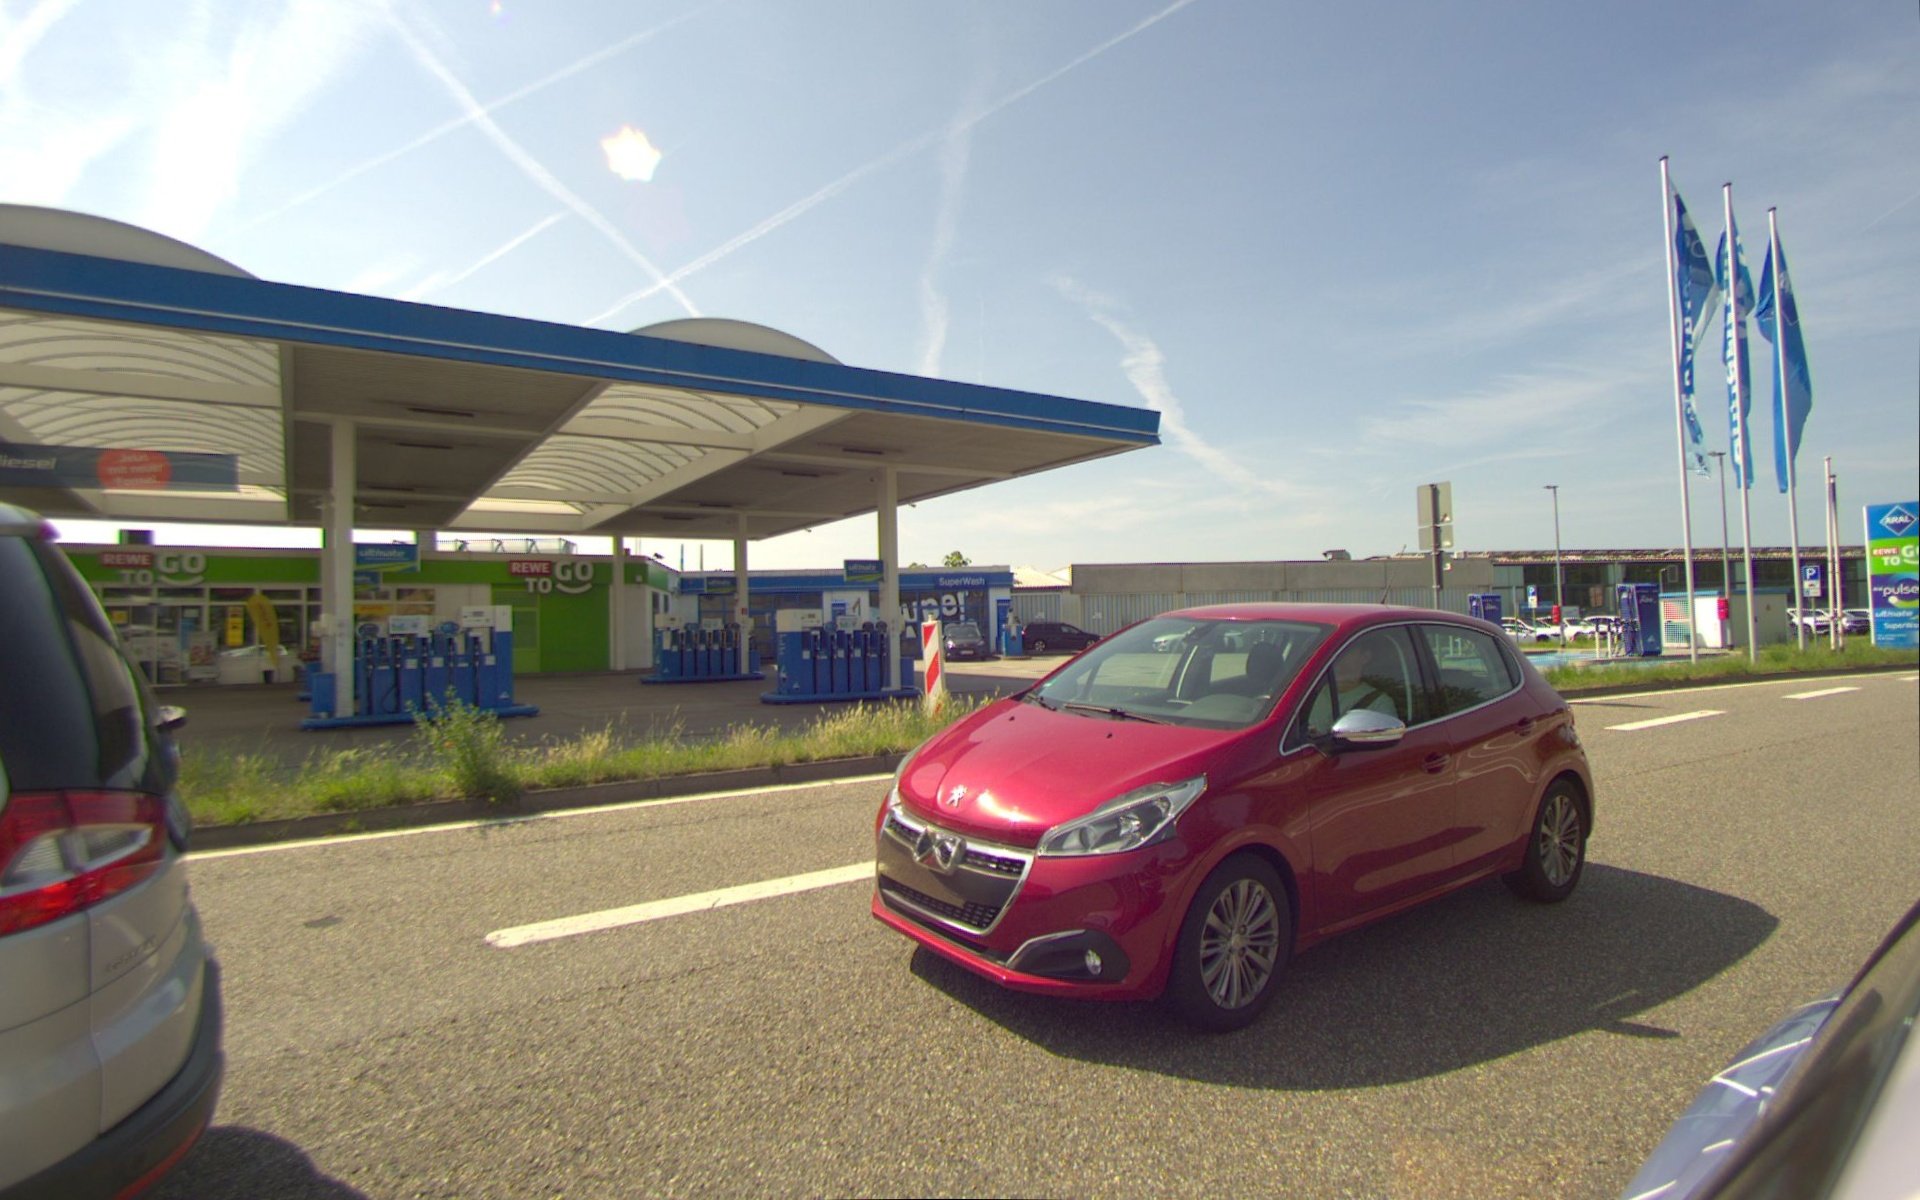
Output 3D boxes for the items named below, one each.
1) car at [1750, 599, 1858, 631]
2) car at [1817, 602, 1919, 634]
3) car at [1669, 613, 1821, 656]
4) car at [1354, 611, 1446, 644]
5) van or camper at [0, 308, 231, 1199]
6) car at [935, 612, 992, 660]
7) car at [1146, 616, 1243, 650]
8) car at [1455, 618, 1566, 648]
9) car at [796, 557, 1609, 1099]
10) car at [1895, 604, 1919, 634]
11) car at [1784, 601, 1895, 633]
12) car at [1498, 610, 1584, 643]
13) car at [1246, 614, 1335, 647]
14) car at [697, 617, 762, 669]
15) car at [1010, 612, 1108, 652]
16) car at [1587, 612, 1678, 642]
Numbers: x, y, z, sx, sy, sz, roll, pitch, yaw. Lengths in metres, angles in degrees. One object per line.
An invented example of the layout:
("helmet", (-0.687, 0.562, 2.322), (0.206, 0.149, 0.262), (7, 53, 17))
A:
("car", (45.511, 0.836, 54.692), (1.785, 1.659, 4.469), (1, -2, -6))
("car", (49.590, 0.987, 55.068), (1.785, 1.659, 4.469), (1, -2, -6))
("car", (35.627, 1.585, 46.157), (5.198, 1.854, 1.978), (-2, -2, 31))
("car", (23.191, 1.462, 53.425), (3.943, 1.625, 1.891), (-1, -1, -2))
("van or camper", (-3.773, 0.480, 0.902), (5.038, 1.810, 1.751), (0, -2, -37))
("car", (0.097, 1.436, 41.226), (1.852, 1.849, 4.175), (-1, -1, -6))
("car", (12.002, 1.665, 51.971), (4.437, 1.625, 1.893), (-1, -1, -9))
("car", (25.130, 1.495, 46.310), (4.056, 1.269, 1.695), (-1, -1, 8))
("car", (1.276, 0.657, 4.780), (3.643, 1.592, 1.806), (0, 0, -36))
("car", (54.857, 1.054, 55.989), (1.785, 1.659, 4.469), (1, -2, -6))
("car", (47.591, 0.965, 54.900), (1.785, 1.659, 4.469), (1, -2, -6))
("car", (29.859, 1.346, 52.183), (1.853, 1.625, 4.023), (-1, -1, -4))
("car", (17.278, 1.588, 53.000), (3.940, 1.625, 1.892), (-1, -1, -7))
("car", (-9.025, 1.741, 39.966), (1.865, 1.850, 4.736), (-2, -3, -6))
("car", (4.967, 1.590, 51.013), (4.558, 1.849, 1.893), (-1, -1, -11))
("car", (35.133, 1.425, 52.972), (1.786, 1.477, 4.049), (1, -2, -5))
